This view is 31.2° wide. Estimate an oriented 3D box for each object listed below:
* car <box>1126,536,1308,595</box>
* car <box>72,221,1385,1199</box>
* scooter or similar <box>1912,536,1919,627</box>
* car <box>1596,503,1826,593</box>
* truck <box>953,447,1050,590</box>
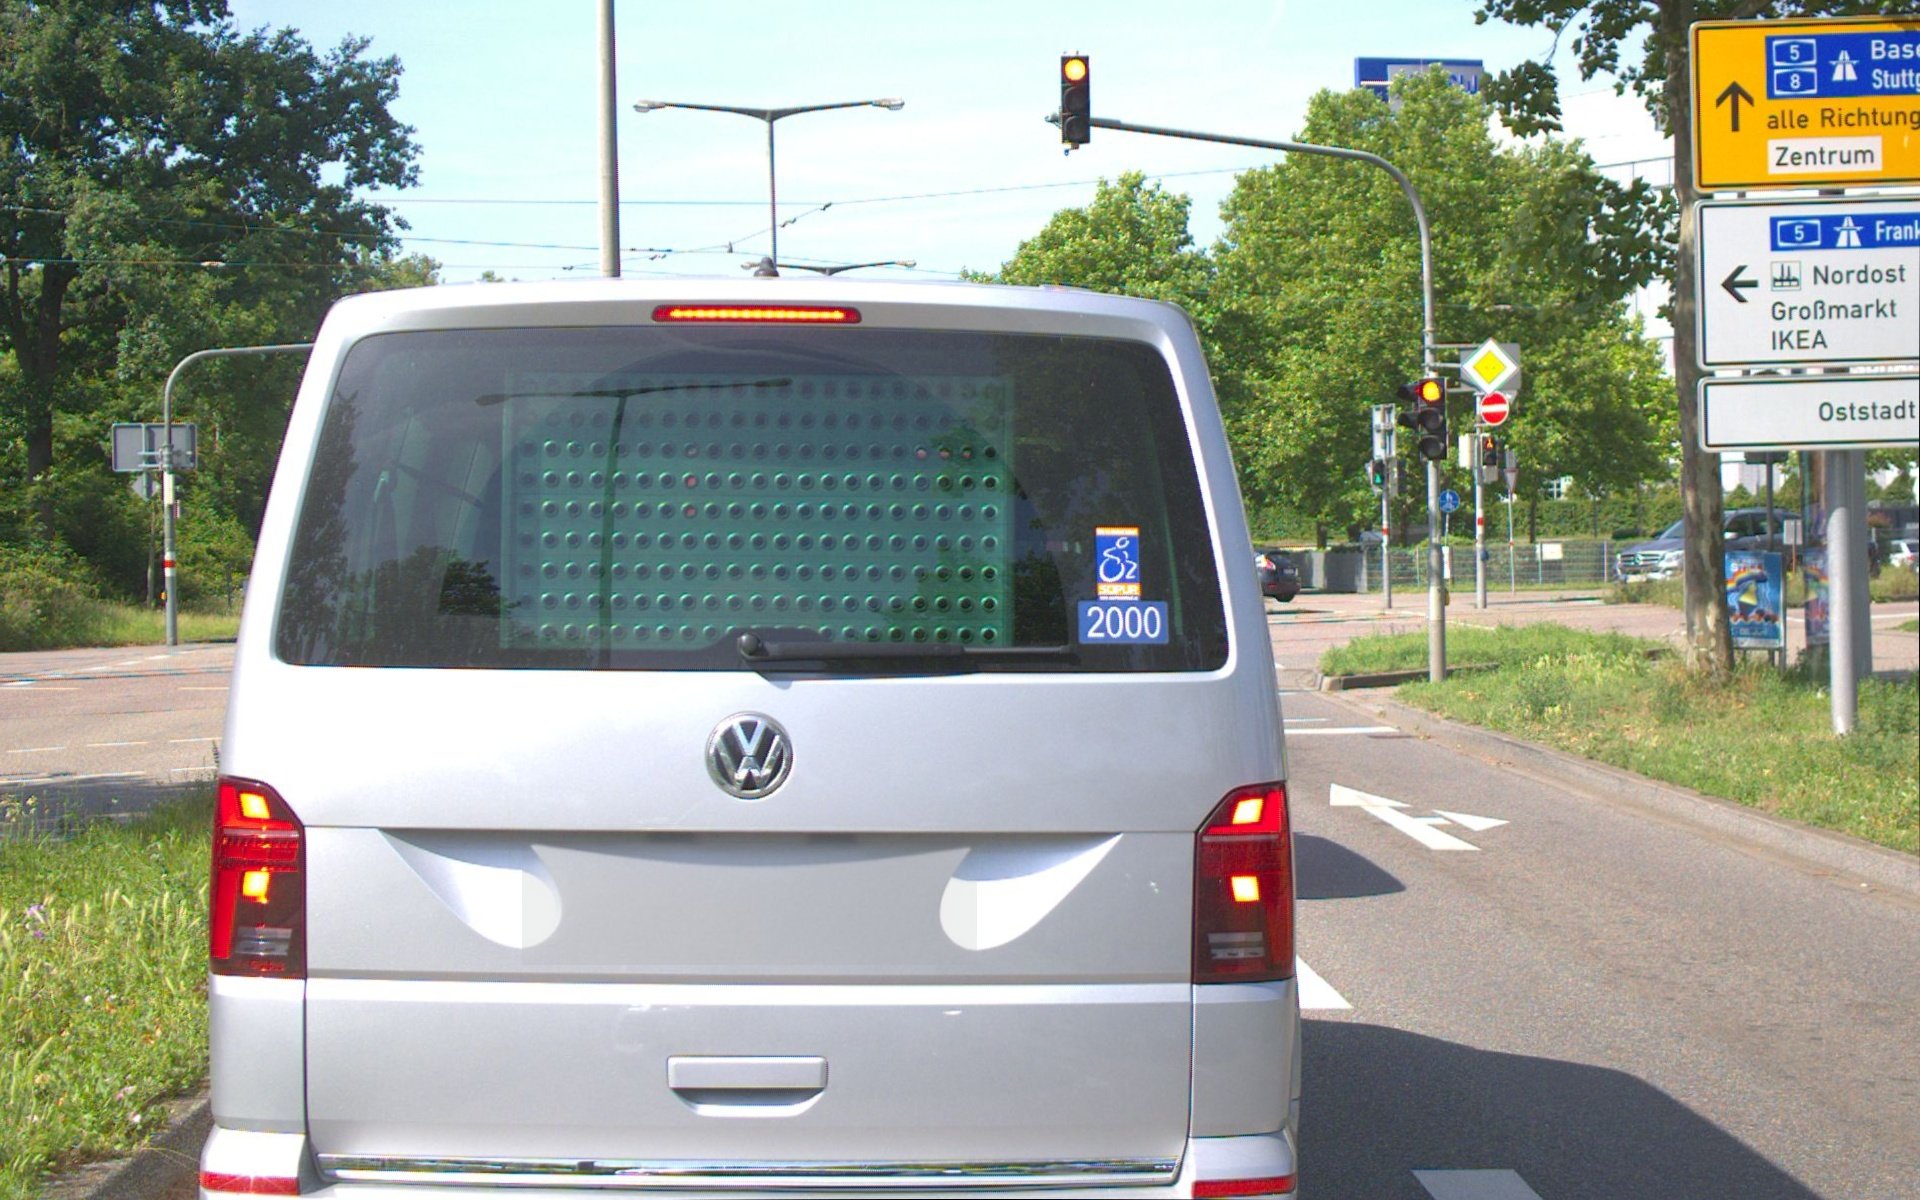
[{"bbox_3d":[6.633,-0.879,89.069,1.777,1.439,4.623,-2,1,-45],"label":"car"},{"bbox_3d":[-0.369,0.387,7.638,1.941,1.965,5.022,-1,1,-1],"label":"car"},{"bbox_3d":[12.130,-0.227,42.391,0.424,1.122,1.124,-1,1,-1],"label":"scooter or similar"},{"bbox_3d":[15.048,-1.057,68.809,4.613,1.683,1.915,-2,1,-37],"label":"car"},{"bbox_3d":[1.159,-2.363,100.890,2.552,3.943,8.975,-1,1,-1],"label":"truck"}]
